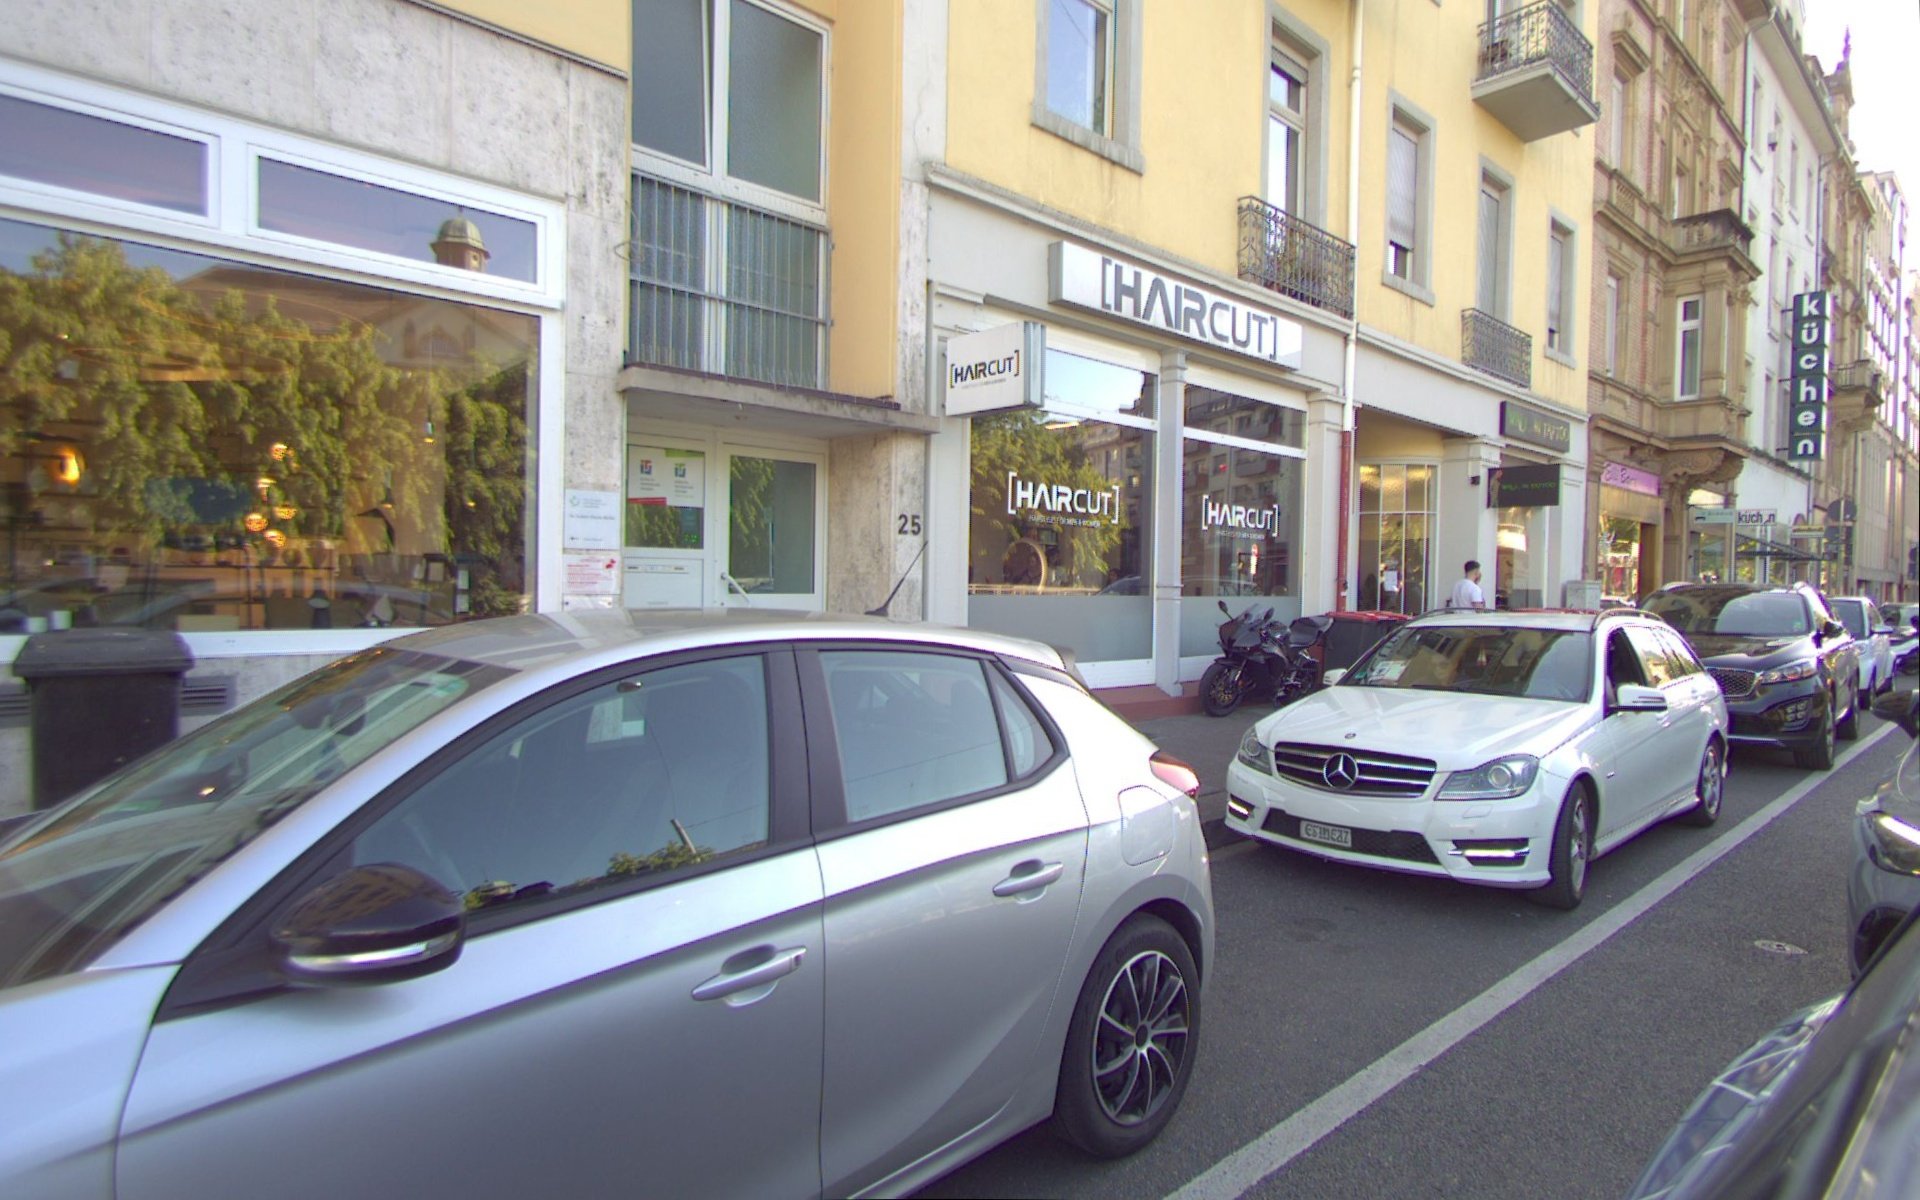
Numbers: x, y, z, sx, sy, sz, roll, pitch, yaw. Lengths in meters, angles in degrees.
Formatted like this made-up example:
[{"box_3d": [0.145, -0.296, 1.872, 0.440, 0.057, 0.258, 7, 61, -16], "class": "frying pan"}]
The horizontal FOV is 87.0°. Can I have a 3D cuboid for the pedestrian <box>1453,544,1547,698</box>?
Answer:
[{"box_3d": [6.848, 0.254, 12.875, 0.961, 1.900, 0.532, 0, 0, 18], "class": "pedestrian"}]

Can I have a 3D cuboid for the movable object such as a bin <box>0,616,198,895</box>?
[{"box_3d": [-3.683, 0.599, 4.317, 0.639, 1.036, 0.737, 0, 0, -41], "class": "movable object such as a bin"}]

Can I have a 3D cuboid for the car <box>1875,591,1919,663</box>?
[{"box_3d": [21.901, 0.566, 22.812, 3.736, 1.509, 1.691, -1, 0, -45], "class": "car"}]

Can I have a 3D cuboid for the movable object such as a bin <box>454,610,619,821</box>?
[{"box_3d": [-2.325, 0.581, 5.541, 0.639, 1.036, 0.737, 0, 0, -41], "class": "movable object such as a bin"}]

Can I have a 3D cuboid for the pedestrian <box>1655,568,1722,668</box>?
[{"box_3d": [13.044, 0.303, 18.121, 0.806, 1.741, 0.835, 0, 0, -44], "class": "pedestrian"}]

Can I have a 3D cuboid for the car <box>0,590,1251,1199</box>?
[{"box_3d": [-1.004, 0.715, 2.311, 3.625, 1.455, 1.585, -1, 0, -43], "class": "car"}]

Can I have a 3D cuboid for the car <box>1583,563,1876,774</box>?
[{"box_3d": [8.012, 0.531, 10.370, 4.338, 1.711, 1.802, -1, 0, -45], "class": "car"}]

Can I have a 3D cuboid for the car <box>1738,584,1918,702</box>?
[{"box_3d": [12.773, 0.547, 14.856, 2.945, 1.542, 1.582, -1, 0, -41], "class": "car"}]

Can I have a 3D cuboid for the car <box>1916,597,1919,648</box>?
[{"box_3d": [26.612, 0.574, 26.930, 3.306, 1.334, 1.459, -1, 0, -42], "class": "car"}]

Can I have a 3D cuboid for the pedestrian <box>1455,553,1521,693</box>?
[{"box_3d": [7.242, 0.301, 13.878, 0.627, 1.859, 0.760, 0, 0, 41], "class": "pedestrian"}]

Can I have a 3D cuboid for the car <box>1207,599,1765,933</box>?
[{"box_3d": [3.535, 0.708, 6.391, 4.301, 1.389, 1.671, -1, 0, -41], "class": "car"}]

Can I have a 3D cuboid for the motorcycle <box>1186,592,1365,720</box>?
[{"box_3d": [3.304, 0.523, 10.508, 2.073, 1.144, 0.735, -1, 5, -41], "class": "motorcycle"}]

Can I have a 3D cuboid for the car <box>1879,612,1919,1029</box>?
[{"box_3d": [5.400, 0.750, 4.380, 4.397, 1.385, 1.767, -1, 1, -43], "class": "car"}]

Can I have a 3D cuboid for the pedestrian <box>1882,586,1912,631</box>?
[{"box_3d": [37.687, 0.347, 40.708, 0.809, 1.782, 0.825, 0, 0, -42], "class": "pedestrian"}]
